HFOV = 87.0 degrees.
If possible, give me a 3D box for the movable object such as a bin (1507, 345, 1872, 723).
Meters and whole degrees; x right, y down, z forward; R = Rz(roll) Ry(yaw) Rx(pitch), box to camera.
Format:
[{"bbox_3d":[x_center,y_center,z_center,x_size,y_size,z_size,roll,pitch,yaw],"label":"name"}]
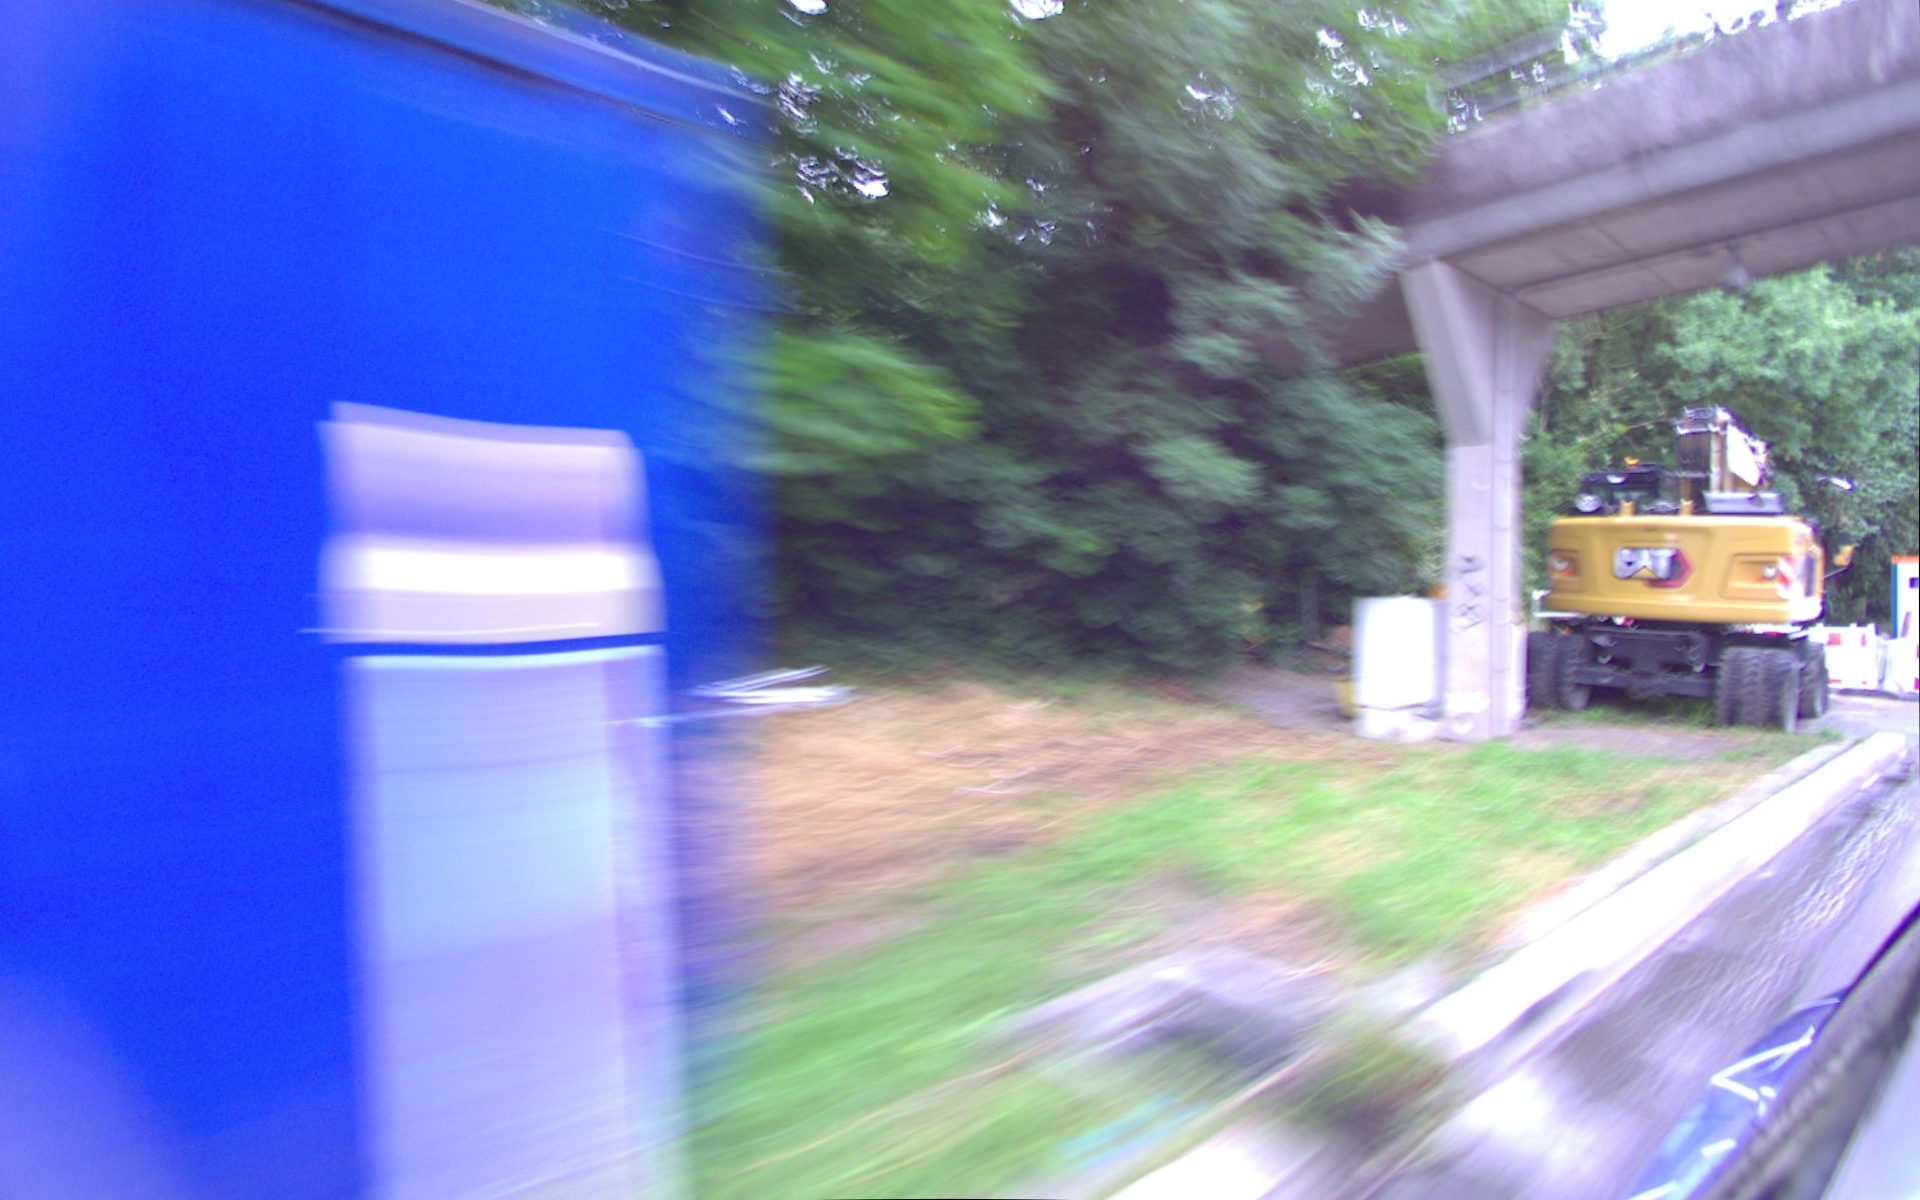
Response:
[{"bbox_3d":[10.114,-0.736,13.795,6.002,3.989,2.885,-1,0,-43],"label":"movable object such as a bin"}]
